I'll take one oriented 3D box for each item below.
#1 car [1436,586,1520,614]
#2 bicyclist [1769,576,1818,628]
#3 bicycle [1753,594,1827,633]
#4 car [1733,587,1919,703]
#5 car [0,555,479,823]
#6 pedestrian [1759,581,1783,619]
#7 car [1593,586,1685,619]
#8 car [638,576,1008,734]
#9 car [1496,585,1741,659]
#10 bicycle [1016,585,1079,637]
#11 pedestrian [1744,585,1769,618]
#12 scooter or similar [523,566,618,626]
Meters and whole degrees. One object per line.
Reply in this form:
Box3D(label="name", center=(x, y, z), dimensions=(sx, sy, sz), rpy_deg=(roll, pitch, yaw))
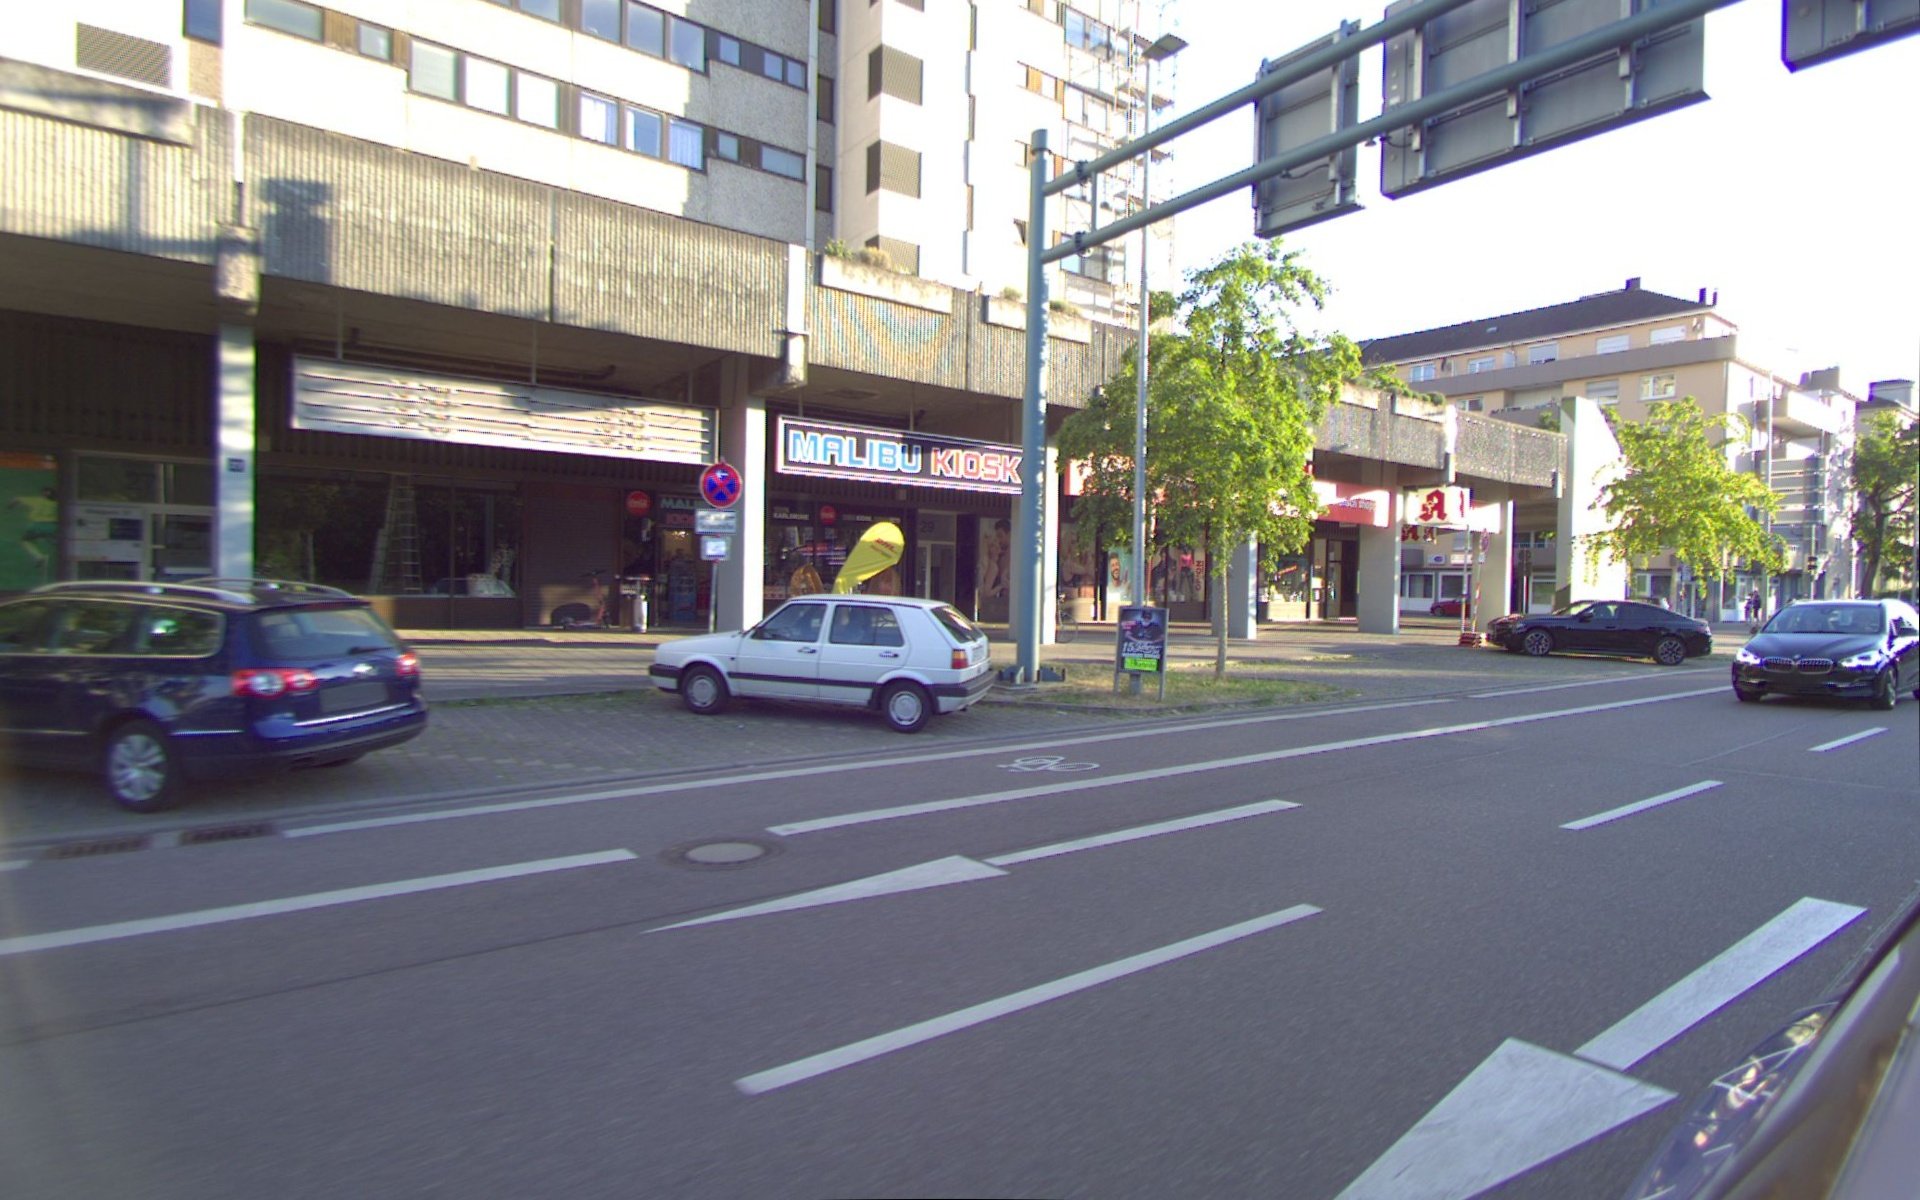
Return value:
Box3D(label="car", center=(31.189, -0.051, 61.027), dimensions=(1.629, 1.457, 4.222), rpy_deg=(-4, 4, -41))
Box3D(label="bicyclist", center=(28.359, 0.063, 34.436), dimensions=(0.805, 1.713, 0.960), rpy_deg=(2, 2, 4))
Box3D(label="bicycle", center=(28.355, 0.437, 34.629), dimensions=(0.805, 1.188, 2.147), rpy_deg=(2, 2, 4))
Box3D(label="car", center=(13.846, 0.602, 15.649), dimensions=(4.702, 1.538, 1.825), rpy_deg=(0, 0, -37))
Box3D(label="car", center=(-6.428, 0.510, 7.950), dimensions=(4.599, 1.526, 1.933), rpy_deg=(3, 3, 13))
Box3D(label="pedestrian", center=(41.120, 0.007, 51.324), dimensions=(0.534, 1.882, 0.840), rpy_deg=(-1, 1, -37))
Box3D(label="car", center=(36.346, 0.100, 54.244), dimensions=(1.586, 1.578, 3.816), rpy_deg=(-4, 4, -36))
Box3D(label="car", center=(-1.557, 0.539, 11.883), dimensions=(3.935, 1.434, 1.743), rpy_deg=(3, 3, 16))
Box3D(label="car", center=(15.793, 0.481, 24.543), dimensions=(4.537, 1.471, 1.807), rpy_deg=(3, 2, 13))
Box3D(label="bicycle", center=(1.943, 0.228, 22.647), dimensions=(0.425, 1.061, 1.577), rpy_deg=(1, 3, -38))
Box3D(label="pedestrian", center=(41.221, 0.068, 52.359), dimensions=(0.752, 1.635, 0.822), rpy_deg=(-1, 1, -36))
Box3D(label="scooter or similar", center=(-7.921, -0.078, 20.643), dimensions=(0.401, 1.176, 1.802), rpy_deg=(-1, -1, 43))
